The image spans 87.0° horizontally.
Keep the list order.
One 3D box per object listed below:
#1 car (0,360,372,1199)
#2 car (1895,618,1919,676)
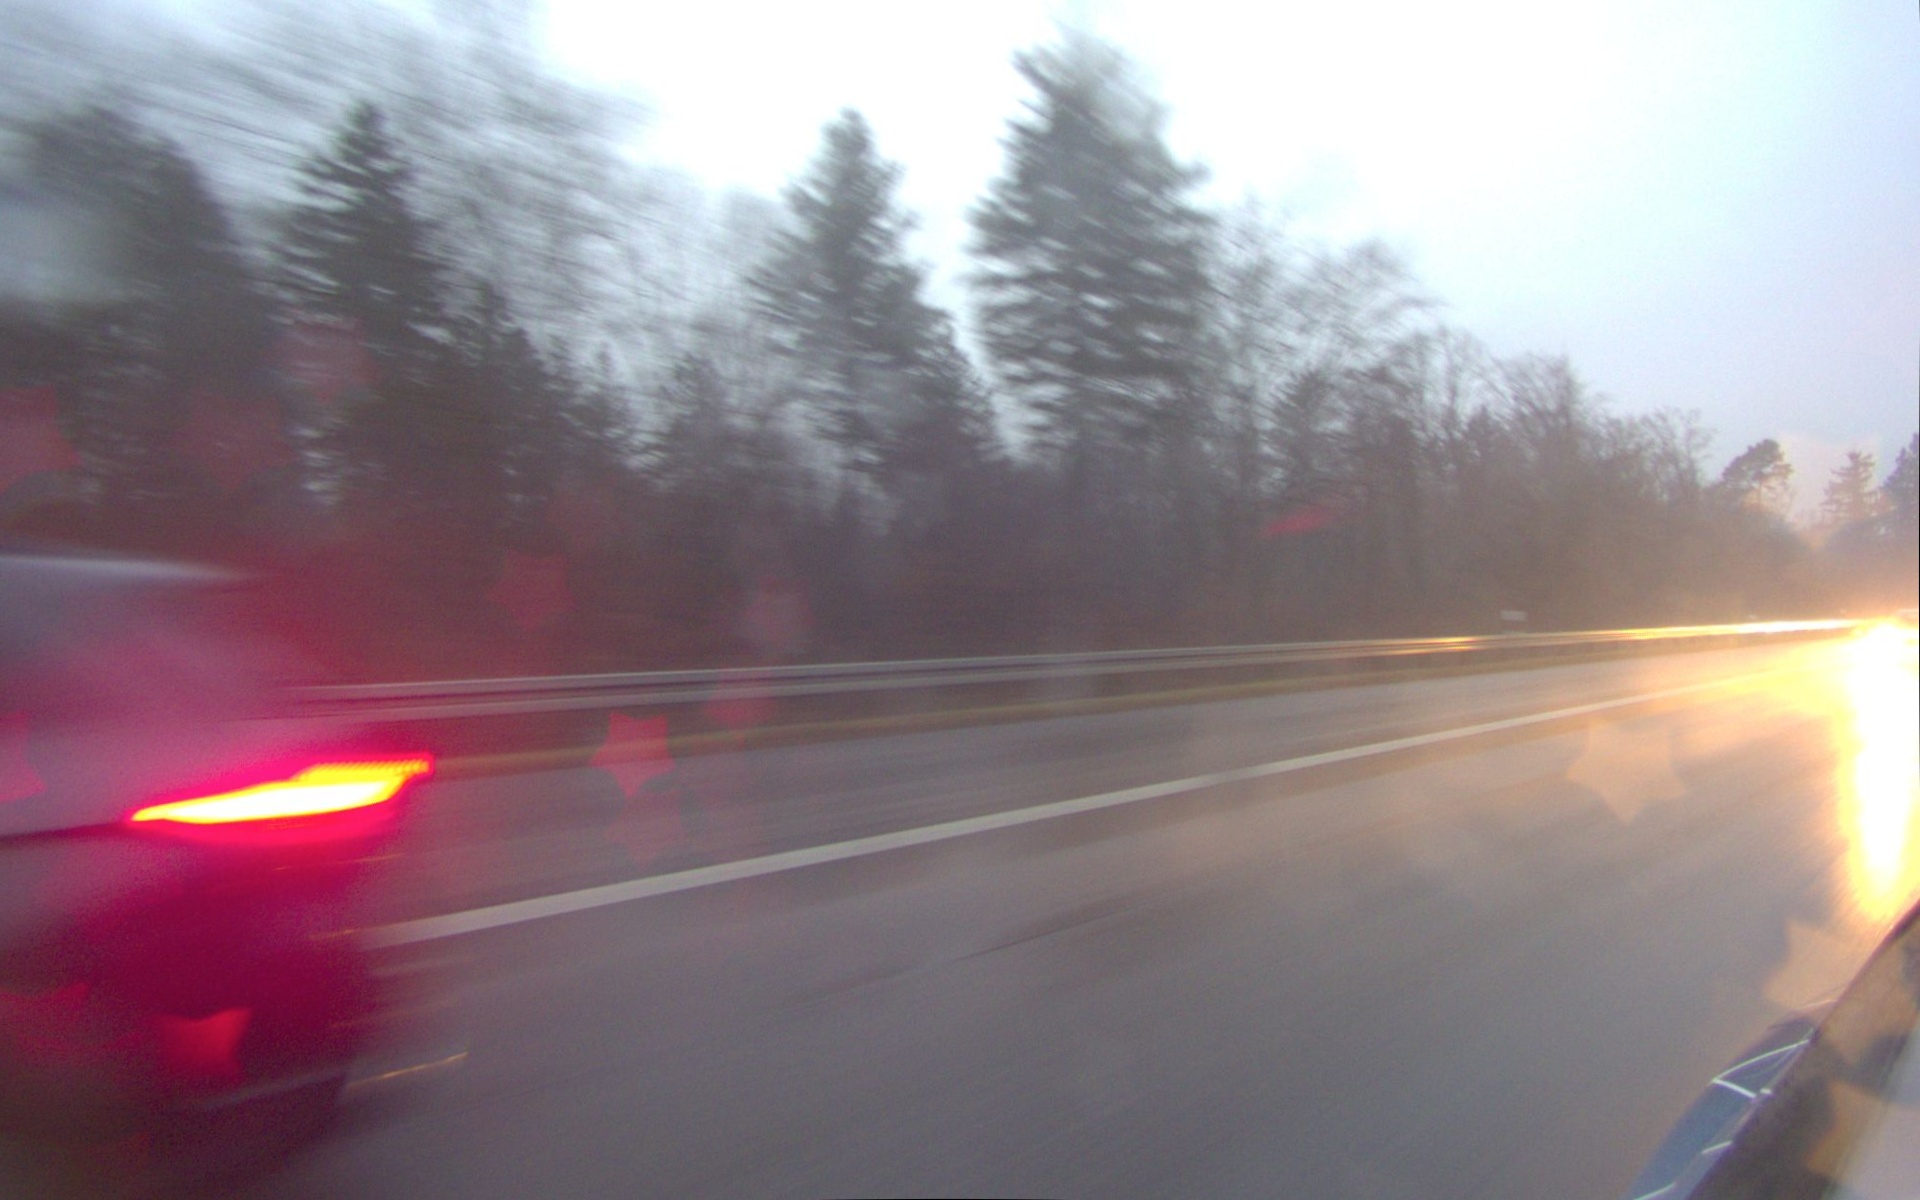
[{"bbox_3d":[-3.202,0.536,1.388,3.872,1.814,1.927,-1,1,-41],"label":"car"},{"bbox_3d":[25.404,1.199,26.040,3.247,1.383,1.602,0,1,-40],"label":"car"}]
